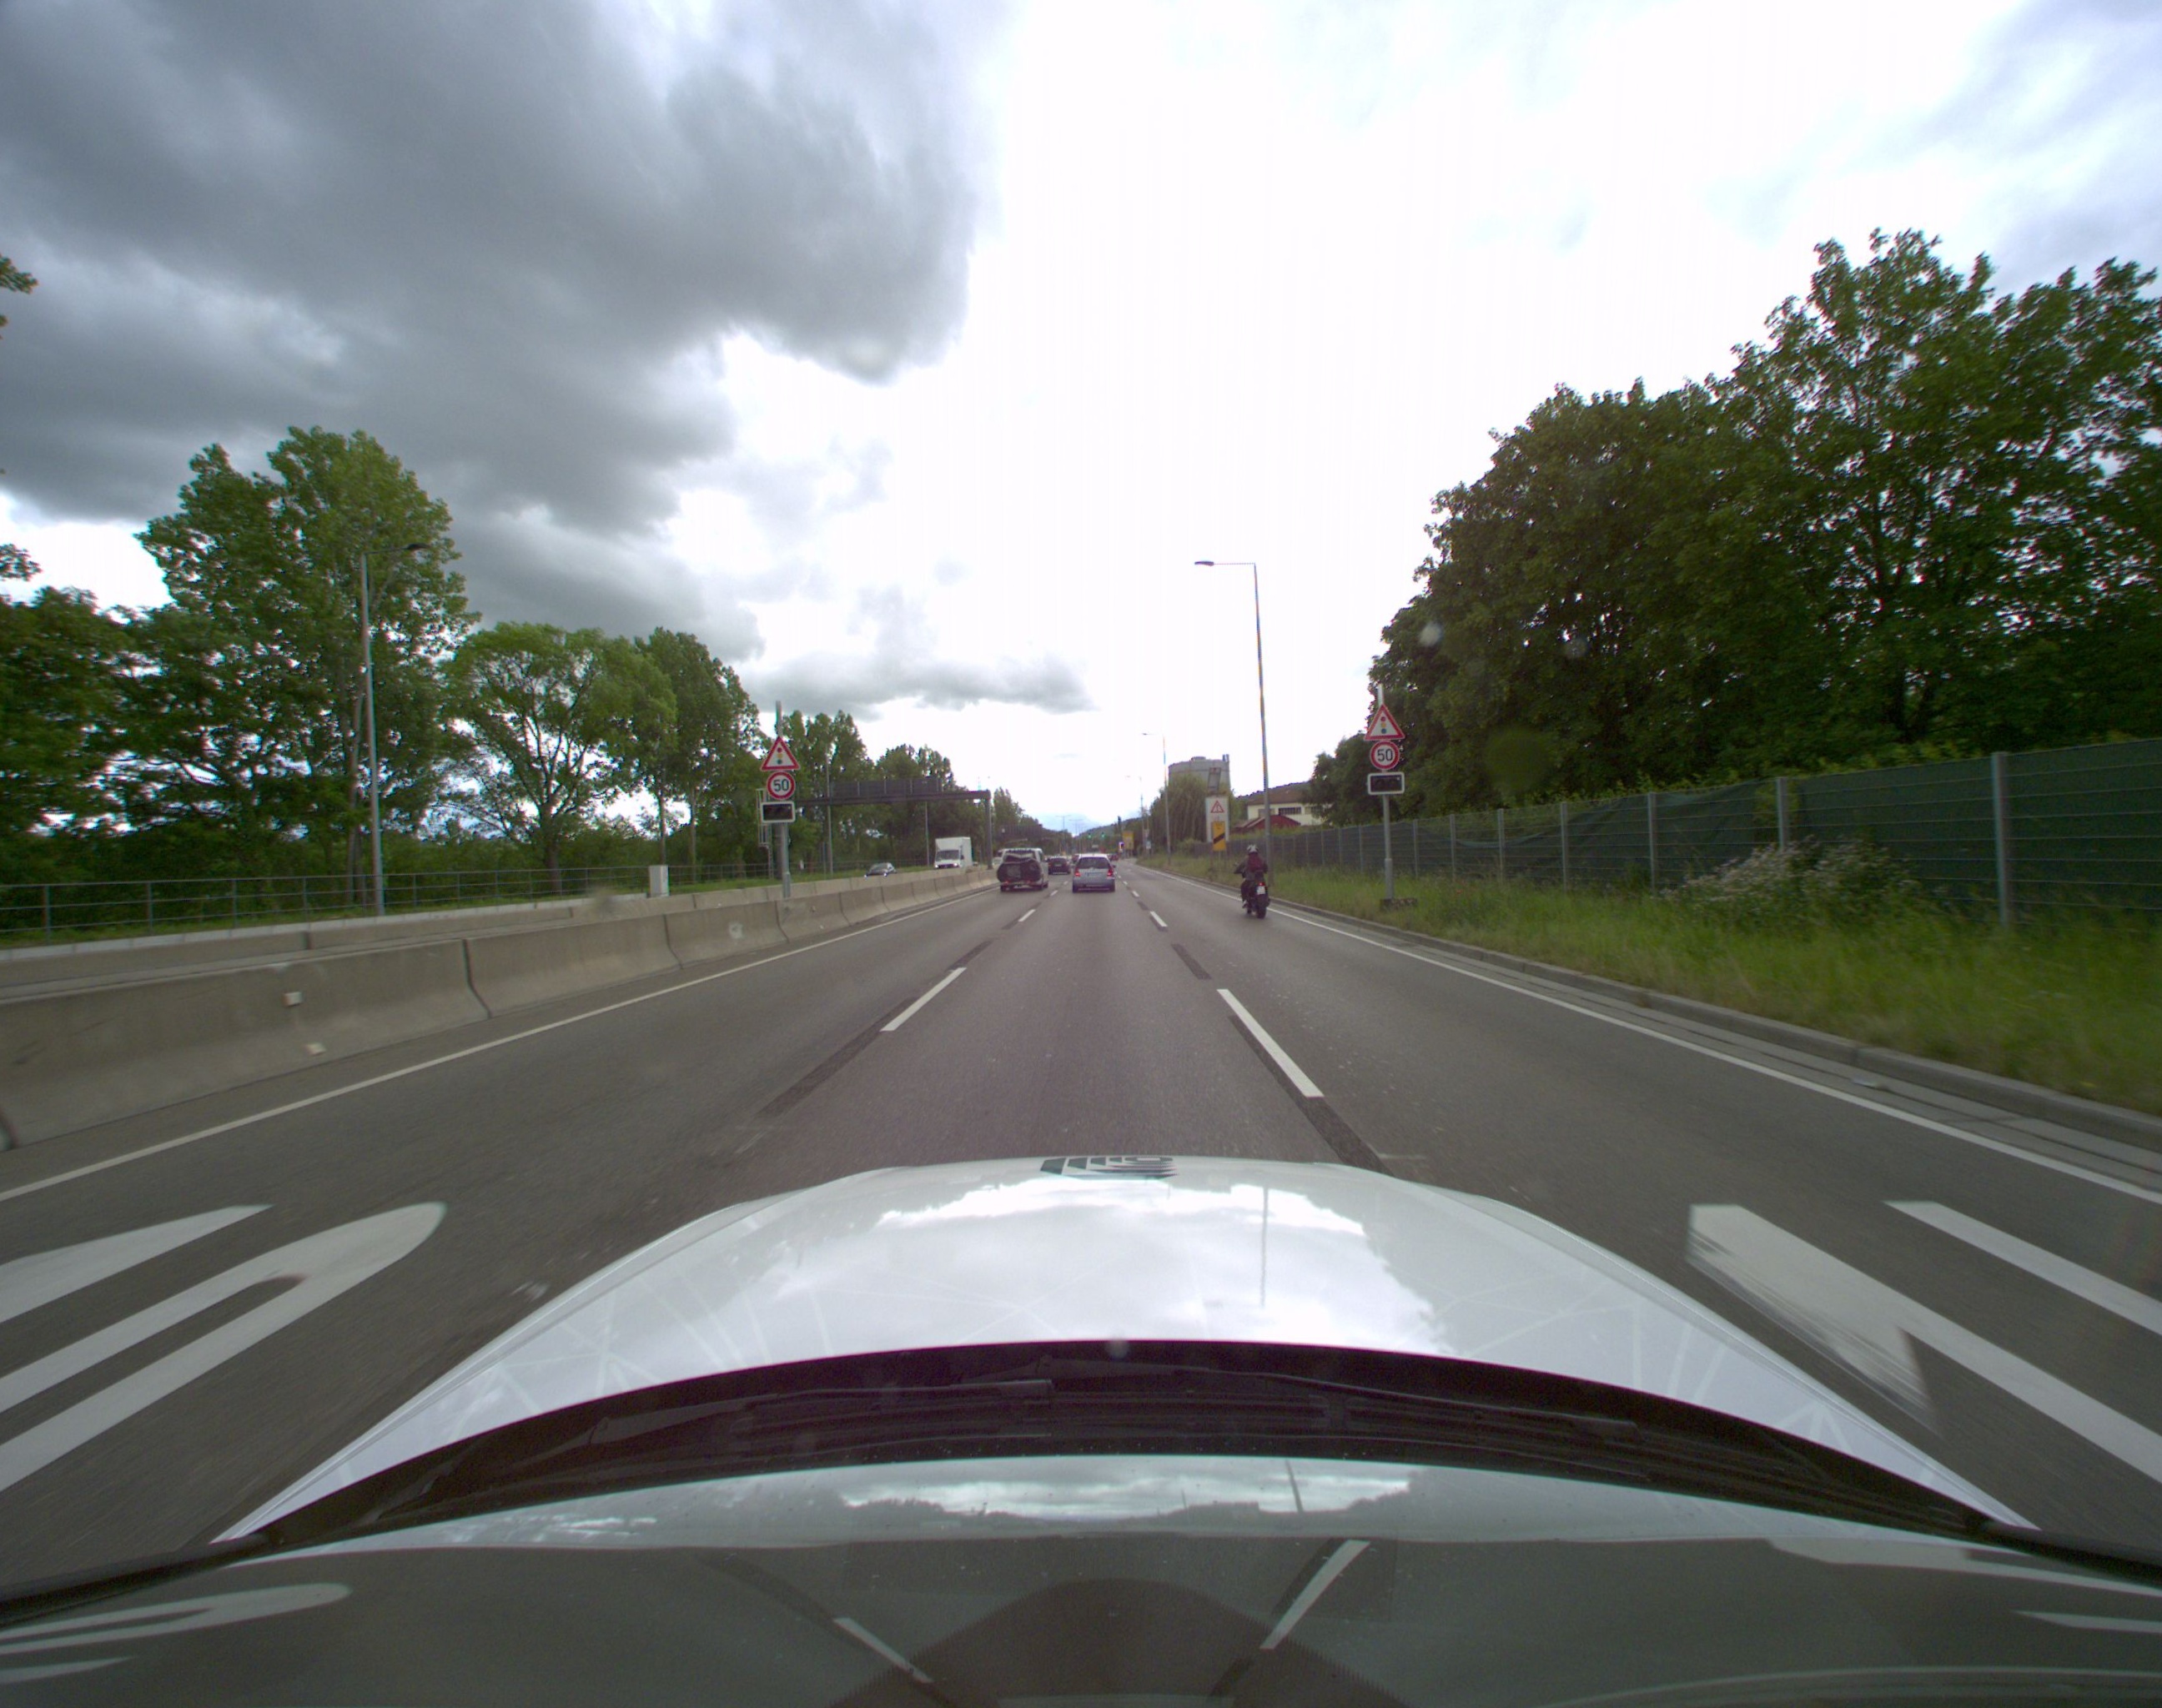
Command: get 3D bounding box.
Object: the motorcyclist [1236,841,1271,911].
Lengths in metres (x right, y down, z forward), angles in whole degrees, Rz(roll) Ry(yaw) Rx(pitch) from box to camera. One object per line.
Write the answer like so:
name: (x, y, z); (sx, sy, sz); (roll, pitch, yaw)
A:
motorcyclist: (4.056, 0.497, 19.170); (0.682, 1.610, 0.846); (0, 0, 3)

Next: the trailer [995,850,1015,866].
trailer: (-15.665, 0.723, 168.677); (3.091, 3.220, 11.663); (0, 0, -1)

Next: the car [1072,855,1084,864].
car: (-0.548, 0.917, 136.222); (1.987, 1.552, 4.000); (0, 0, 0)

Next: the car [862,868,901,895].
car: (-15.571, 2.122, 63.755); (1.986, 2.013, 4.001); (0, 0, 1)

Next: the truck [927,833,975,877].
truck: (-9.710, 0.063, 61.650); (2.396, 3.107, 7.202); (0, 0, 1)

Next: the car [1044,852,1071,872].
car: (-1.825, 0.628, 64.526); (1.986, 1.552, 4.001); (0, 0, 1)

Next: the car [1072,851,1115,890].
car: (0.549, 0.657, 34.426); (1.704, 1.530, 4.001); (0, 0, 1)

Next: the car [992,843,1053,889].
car: (-2.512, 0.503, 36.371); (2.206, 1.925, 5.005); (0, 0, 2)

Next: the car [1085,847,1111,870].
car: (1.296, 0.293, 61.760); (1.900, 1.684, 4.002); (0, 0, 2)

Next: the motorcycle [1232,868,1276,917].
motorcycle: (4.054, 0.882, 19.189); (0.703, 1.040, 2.028); (0, 0, 3)

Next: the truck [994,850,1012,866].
truck: (-15.589, 0.736, 163.213); (3.089, 3.219, 5.389); (0, 0, -1)

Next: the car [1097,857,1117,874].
car: (2.471, 1.063, 76.951); (1.833, 1.464, 4.001); (0, 0, 1)

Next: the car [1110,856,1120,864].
car: (7.123, 1.271, 170.850); (1.987, 1.552, 4.000); (0, 0, 0)
